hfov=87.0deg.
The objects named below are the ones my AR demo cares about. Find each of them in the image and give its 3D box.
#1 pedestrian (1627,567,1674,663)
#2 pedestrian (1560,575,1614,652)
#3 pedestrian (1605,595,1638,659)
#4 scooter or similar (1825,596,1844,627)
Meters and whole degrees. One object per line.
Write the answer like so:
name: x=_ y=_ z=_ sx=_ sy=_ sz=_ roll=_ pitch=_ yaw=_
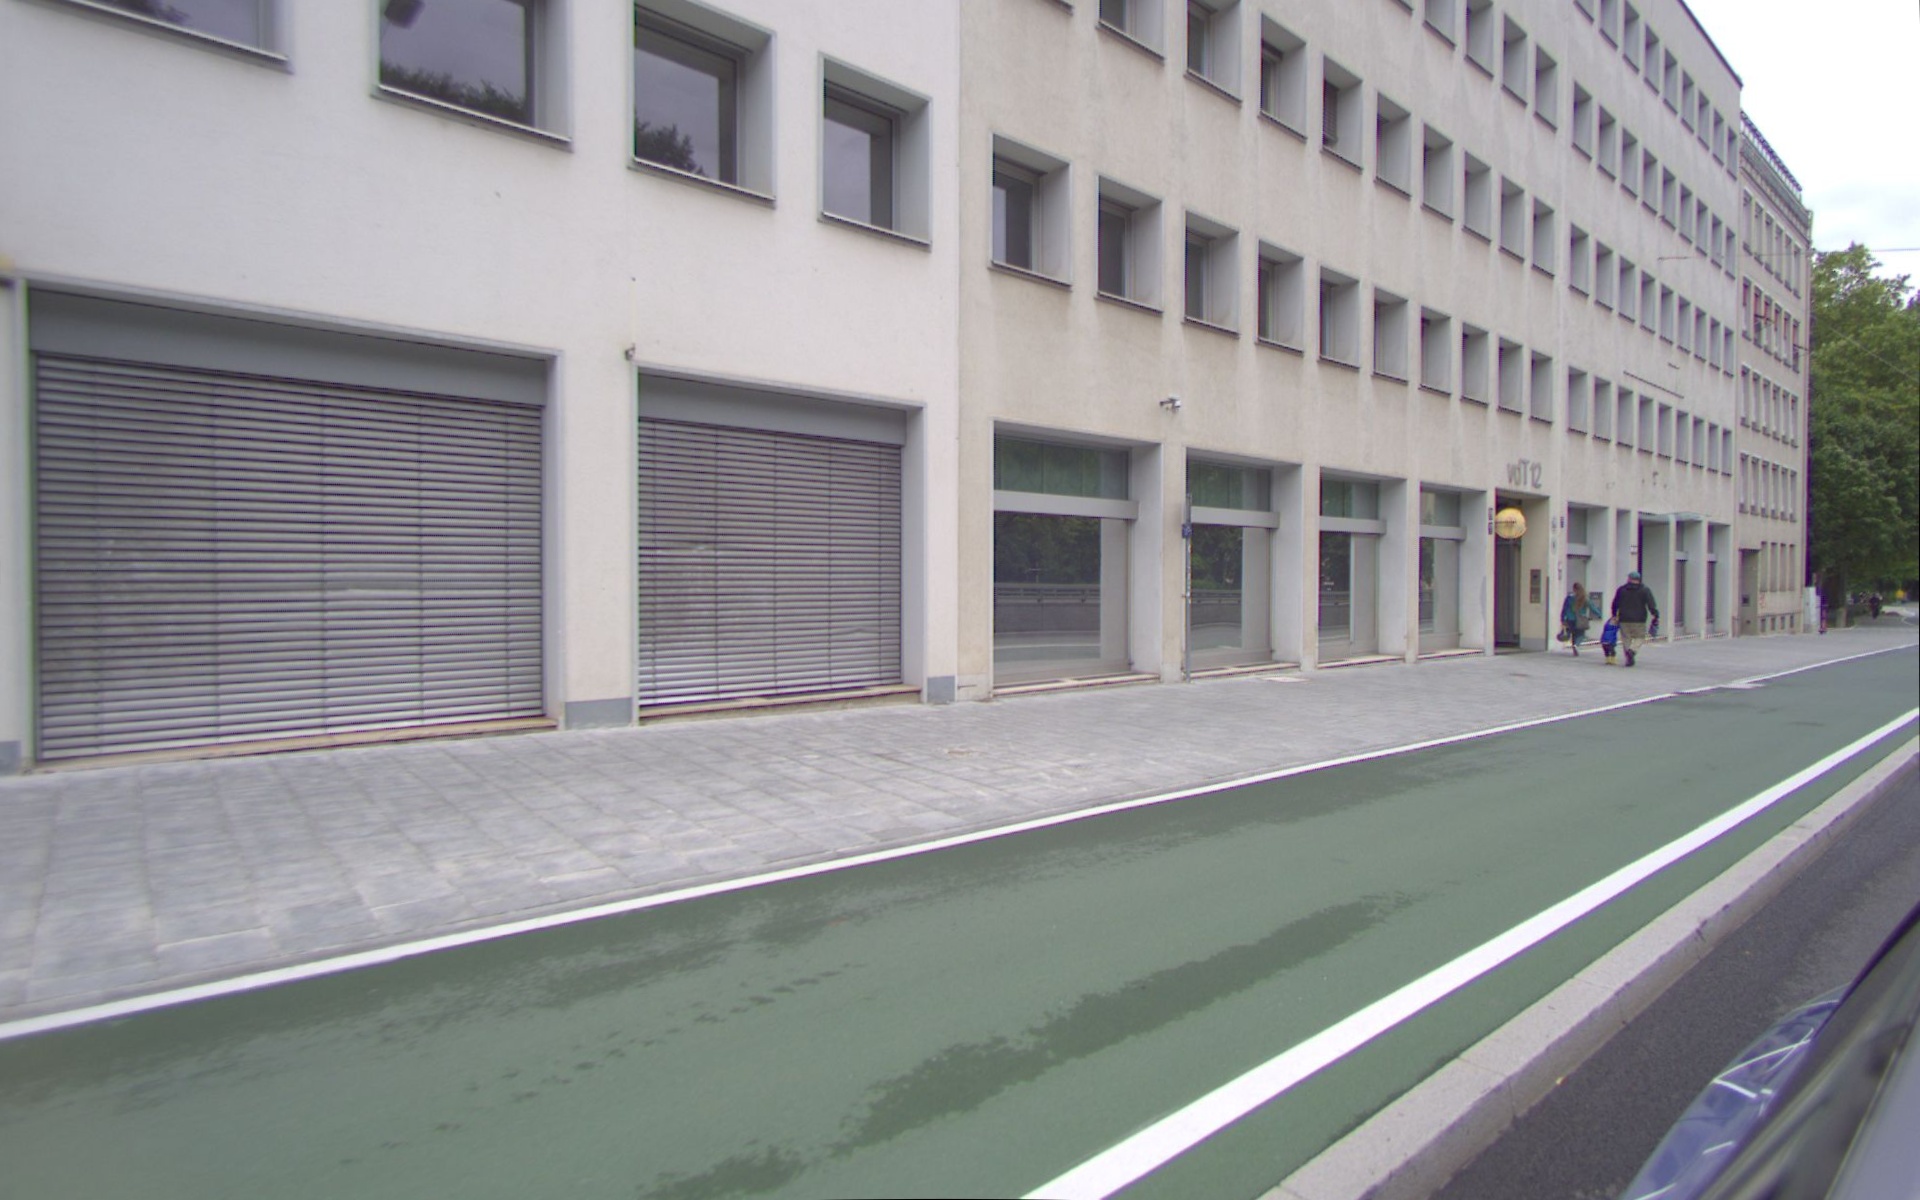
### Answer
pedestrian: x=13.704 y=0.282 z=20.098 sx=0.591 sy=1.858 sz=0.514 roll=0 pitch=4 yaw=-41
pedestrian: x=13.862 y=0.283 z=22.379 sx=0.692 sy=1.639 sz=0.754 roll=0 pitch=4 yaw=-41
pedestrian: x=13.411 y=0.541 z=20.512 sx=0.461 sy=1.261 sz=0.368 roll=0 pitch=4 yaw=-41
scooter or similar: x=37.229 y=0.486 z=43.082 sx=1.100 sy=1.287 sz=0.387 roll=-2 pitch=5 yaw=-42
